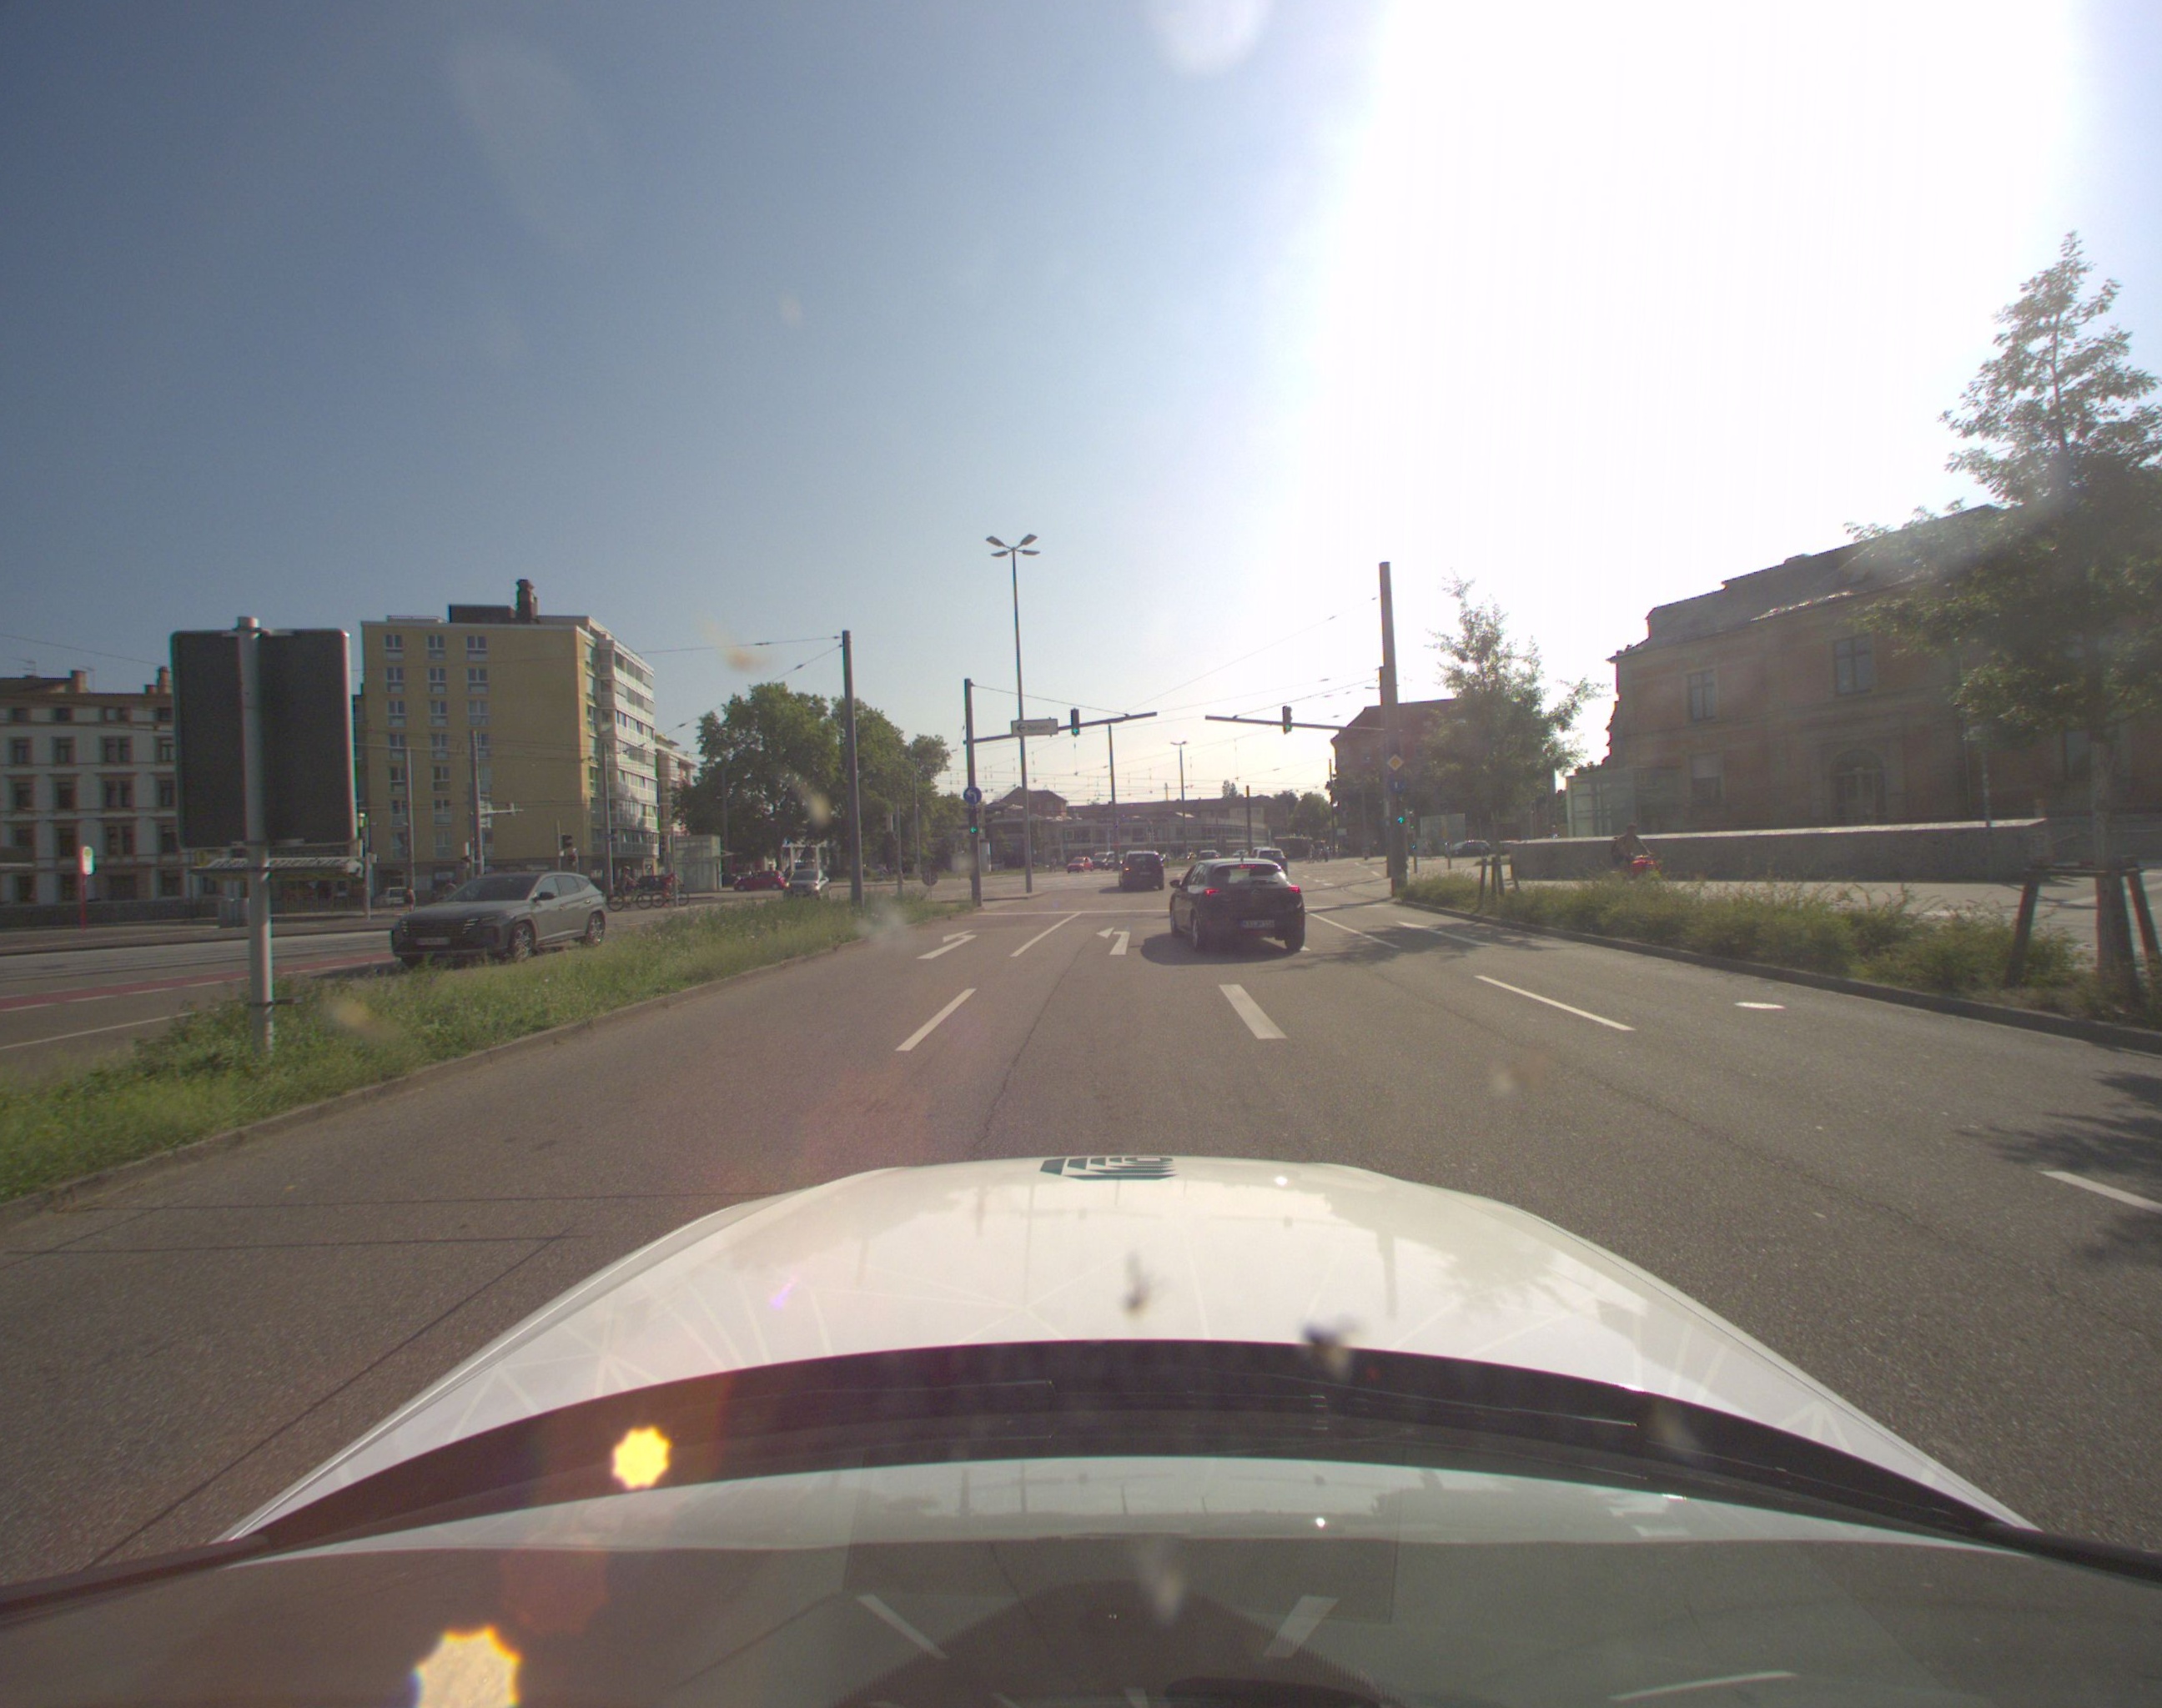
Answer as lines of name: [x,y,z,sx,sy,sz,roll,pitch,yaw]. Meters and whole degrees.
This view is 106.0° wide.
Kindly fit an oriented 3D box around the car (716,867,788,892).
car: [-23.413,1.779,58.108,4.396,1.535,1.826,-3,0,-9]

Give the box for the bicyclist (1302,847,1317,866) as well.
bicyclist: [23.002,0.240,81.973,0.937,1.800,1.086,-2,0,-19]

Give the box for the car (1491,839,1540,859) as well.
car: [44.544,-0.502,83.515,4.264,1.859,1.923,-2,-1,-13]

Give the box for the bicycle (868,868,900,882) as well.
bicycle: [-17.176,1.808,71.015,2.600,1.057,0.957,-2,-1,-11]

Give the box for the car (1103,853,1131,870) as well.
car: [3.670,0.745,82.392,1.601,1.475,4.020,-4,-1,20]

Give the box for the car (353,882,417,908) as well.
car: [-49.780,2.943,58.221,4.492,1.678,2.012,-2,-1,29]

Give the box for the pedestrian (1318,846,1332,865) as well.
pedestrian: [24.202,0.151,80.839,0.932,1.797,0.850,-2,0,-36]

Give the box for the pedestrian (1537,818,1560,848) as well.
pedestrian: [27.650,-1.235,48.122,0.911,1.690,0.930,-3,-1,44]

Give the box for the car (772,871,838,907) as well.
car: [-12.493,1.543,37.105,1.885,1.452,3.669,-2,0,-4]

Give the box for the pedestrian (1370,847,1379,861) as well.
pedestrian: [31.440,-0.028,87.223,0.671,1.471,0.540,-2,-1,-40]

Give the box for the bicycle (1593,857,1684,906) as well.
bicycle: [11.790,0.552,17.309,0.716,0.960,1.924,-3,0,5]

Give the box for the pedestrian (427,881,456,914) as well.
pedestrian: [-35.254,2.387,44.896,0.923,1.690,0.918,-2,-1,-13]

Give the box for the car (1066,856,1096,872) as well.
car: [-0.006,0.964,80.353,1.601,1.475,4.020,-4,-1,20]

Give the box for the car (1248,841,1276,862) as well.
car: [13.664,-0.214,61.352,1.812,1.428,4.430,-3,0,15]

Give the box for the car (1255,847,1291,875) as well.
car: [10.906,0.372,46.282,1.813,1.428,4.428,-3,0,13]

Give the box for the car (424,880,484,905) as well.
car: [-45.164,2.778,58.641,4.491,1.678,2.013,-2,-1,33]

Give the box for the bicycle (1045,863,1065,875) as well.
bicycle: [-2.580,1.504,81.167,0.949,1.057,2.621,-2,0,21]

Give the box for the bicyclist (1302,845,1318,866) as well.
bicyclist: [22.392,0.130,79.719,0.940,2.024,1.082,-2,0,-33]

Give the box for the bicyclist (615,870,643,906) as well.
bicyclist: [-19.654,1.475,35.459,0.793,1.527,0.724,-2,0,-7]

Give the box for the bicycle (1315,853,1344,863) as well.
bicycle: [25.453,0.418,83.378,2.627,0.964,1.086,-2,0,-20]

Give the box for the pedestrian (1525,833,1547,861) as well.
pedestrian: [27.584,-0.415,49.382,0.911,1.690,0.843,-3,-1,41]

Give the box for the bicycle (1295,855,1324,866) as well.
bicycle: [23.033,0.660,81.978,2.627,0.964,1.086,-2,0,-20]

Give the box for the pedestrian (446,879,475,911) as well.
pedestrian: [-34.151,2.271,44.857,0.923,1.690,0.918,-2,-1,-13]

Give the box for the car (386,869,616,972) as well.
car: [-10.999,1.144,15.912,1.692,1.617,4.450,-2,0,-7]

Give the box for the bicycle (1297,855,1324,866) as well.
bicycle: [22.453,0.672,79.736,2.636,0.964,1.082,-2,0,-33]

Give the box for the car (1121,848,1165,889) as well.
car: [2.774,0.643,37.308,1.818,1.714,4.415,-2,0,3]

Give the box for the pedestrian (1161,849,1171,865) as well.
pedestrian: [8.332,0.312,79.702,0.771,1.503,0.714,-3,0,19]

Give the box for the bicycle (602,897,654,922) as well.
bicycle: [-19.701,2.408,35.443,1.811,0.932,0.724,-2,0,-7]

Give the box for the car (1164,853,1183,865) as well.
car: [12.819,0.728,112.355,1.600,1.475,4.021,-5,-1,21]

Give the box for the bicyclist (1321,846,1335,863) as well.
bicyclist: [25.257,0.058,83.308,0.937,1.680,1.086,-2,0,-19]

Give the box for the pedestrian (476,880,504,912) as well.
pedestrian: [-32.671,2.316,45.064,0.923,1.690,0.918,-2,-1,-13]

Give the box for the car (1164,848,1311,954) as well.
car: [2.532,0.697,14.215,1.677,1.492,4.371,-2,0,0]

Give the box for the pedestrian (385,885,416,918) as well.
pedestrian: [-36.505,2.517,43.698,0.923,1.690,0.918,-2,-1,-13]

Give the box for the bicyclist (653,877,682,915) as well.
bicyclist: [-18.773,1.911,36.989,0.880,1.652,0.724,-2,0,-7]

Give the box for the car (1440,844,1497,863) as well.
car: [33.534,-0.047,70.514,4.393,1.397,2.008,-2,0,-24]

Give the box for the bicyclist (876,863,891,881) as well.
bicyclist: [-17.229,1.563,71.014,1.163,1.527,0.957,-2,0,-10]

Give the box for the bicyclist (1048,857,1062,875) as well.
bicyclist: [-2.588,1.180,81.173,0.949,1.748,1.172,-2,-1,21]

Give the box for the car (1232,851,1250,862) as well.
car: [24.380,0.322,124.178,1.599,1.475,4.024,-5,-1,27]

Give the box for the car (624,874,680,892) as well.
car: [-38.742,2.614,73.661,4.163,1.354,1.474,-2,-1,-15]

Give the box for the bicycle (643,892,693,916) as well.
bicycle: [-18.745,2.262,36.993,1.811,0.932,0.724,-2,0,-7]

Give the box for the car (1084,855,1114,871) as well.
car: [1.934,0.972,87.381,1.944,1.475,4.020,-4,-1,20]

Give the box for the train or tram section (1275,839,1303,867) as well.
train or tram section: [29.101,-0.188,113.480,2.632,3.699,10.643,-3,0,20]

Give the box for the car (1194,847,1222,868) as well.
car: [10.474,0.268,66.894,1.813,1.535,4.428,-3,0,13]

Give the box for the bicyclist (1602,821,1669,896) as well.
bicyclist: [11.768,0.099,17.316,0.716,1.513,1.006,-3,-1,5]

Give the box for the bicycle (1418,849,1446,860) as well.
bicycle: [32.853,0.034,76.247,2.636,0.964,1.082,-2,-2,-33]

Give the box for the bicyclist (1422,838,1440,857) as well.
bicyclist: [32.753,-0.617,76.214,0.940,1.708,1.082,-2,0,-33]

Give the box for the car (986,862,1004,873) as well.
car: [-12.713,1.955,120.501,1.689,1.522,4.110,-2,0,9]

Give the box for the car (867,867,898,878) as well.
car: [-29.896,2.745,122.966,1.683,1.522,4.544,-2,-1,36]
